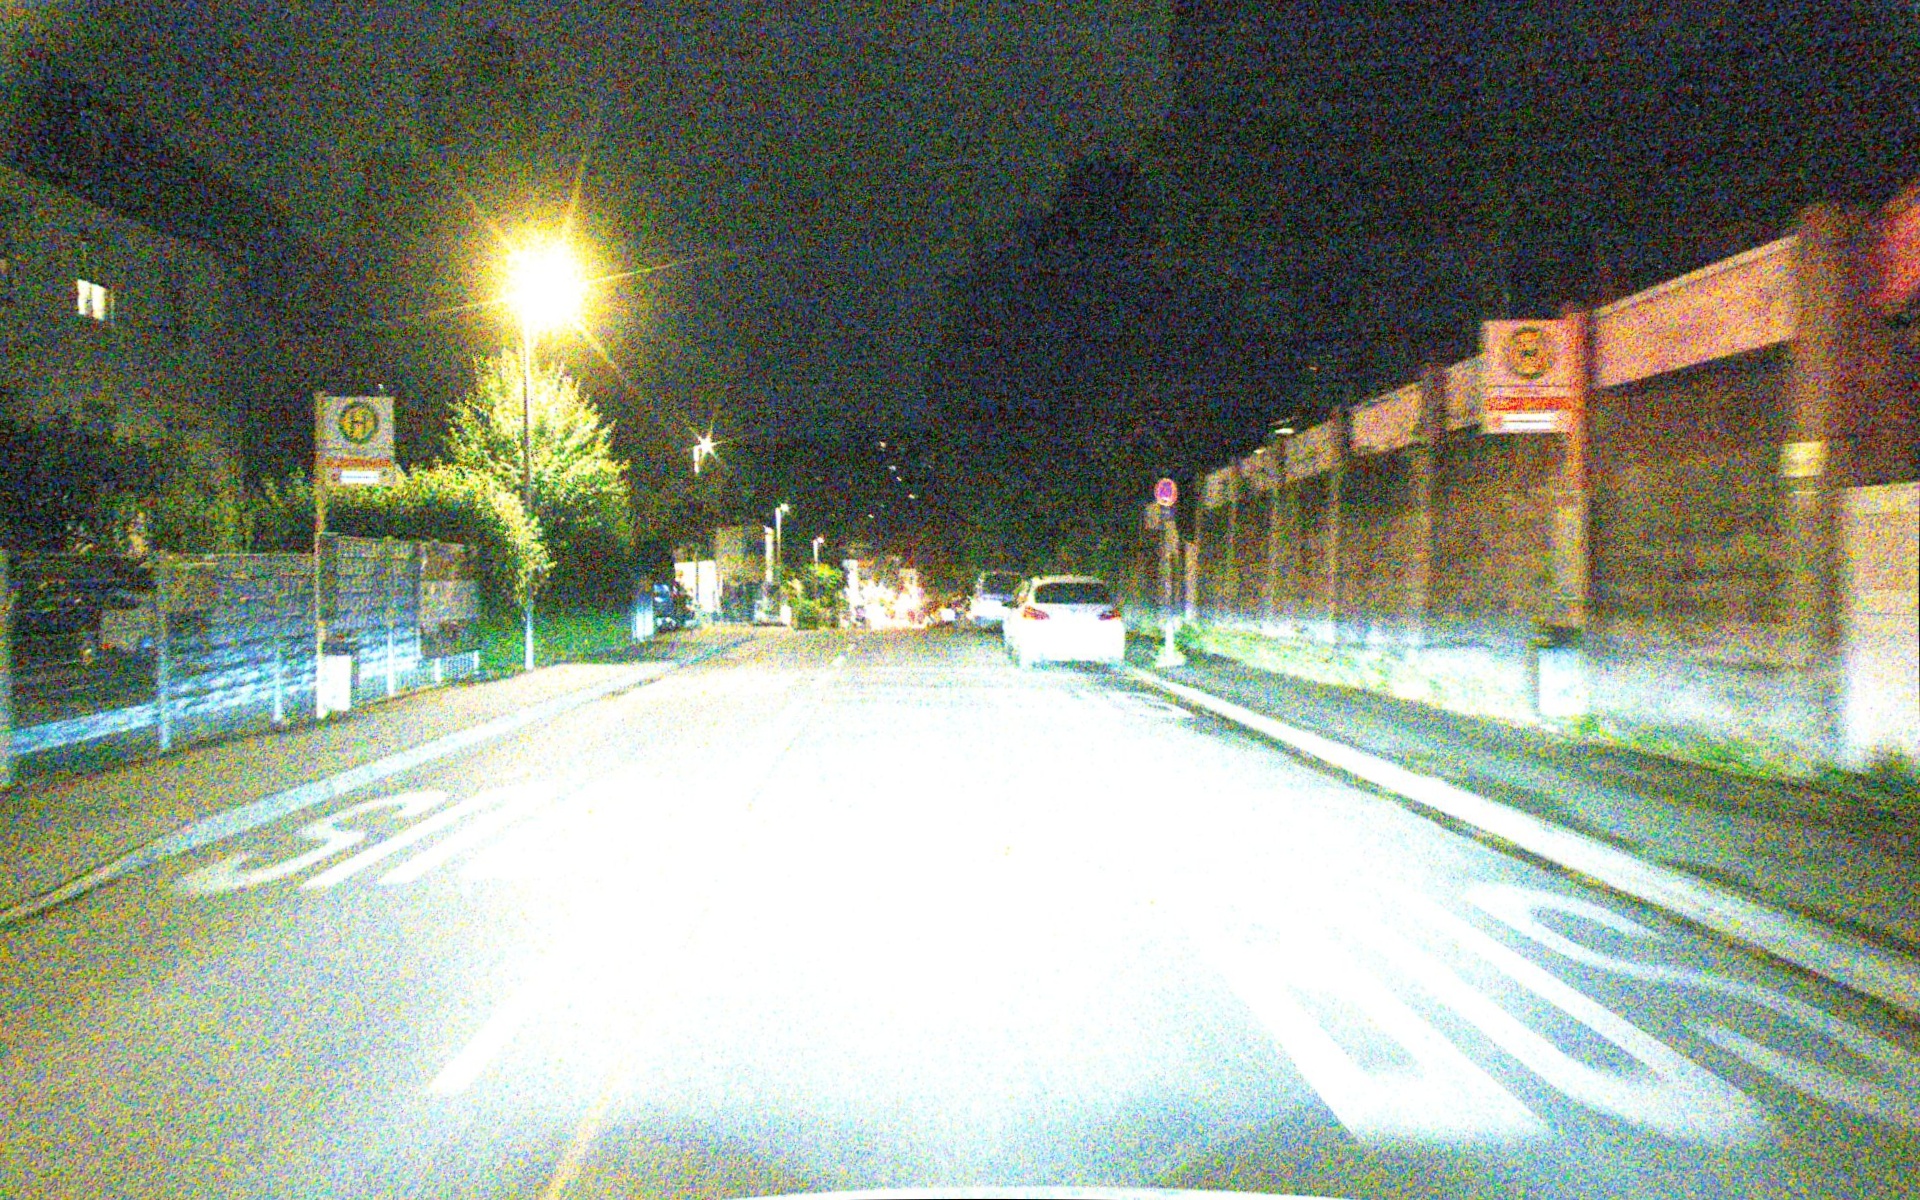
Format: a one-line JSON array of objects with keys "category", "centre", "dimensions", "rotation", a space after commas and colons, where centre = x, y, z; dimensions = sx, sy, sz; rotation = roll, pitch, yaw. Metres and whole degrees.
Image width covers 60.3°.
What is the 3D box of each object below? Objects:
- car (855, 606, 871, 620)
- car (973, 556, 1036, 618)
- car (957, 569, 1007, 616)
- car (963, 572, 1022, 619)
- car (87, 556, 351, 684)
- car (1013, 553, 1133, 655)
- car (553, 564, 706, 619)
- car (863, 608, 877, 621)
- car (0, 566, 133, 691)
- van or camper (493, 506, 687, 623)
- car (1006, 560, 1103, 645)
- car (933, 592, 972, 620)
[{"category": "car", "centre": [-10.601, 1.431, 180.763], "dimensions": [1.719, 1.566, 3.726], "rotation": [0, -1, -5]}, {"category": "car", "centre": [1.321, -0.389, 50.614], "dimensions": [1.684, 1.792, 4.757], "rotation": [1, 0, -1]}, {"category": "car", "centre": [0.794, -0.240, 61.716], "dimensions": [1.794, 1.693, 4.618], "rotation": [0, -1, 0]}, {"category": "car", "centre": [1.068, -0.158, 56.099], "dimensions": [1.708, 1.496, 4.255], "rotation": [1, 0, -2]}, {"category": "car", "centre": [-9.207, 0.189, 20.940], "dimensions": [1.937, 1.464, 3.994], "rotation": [0, 1, -7]}, {"category": "car", "centre": [1.885, 0.029, 28.846], "dimensions": [1.719, 1.621, 4.728], "rotation": [1, 1, -1]}, {"category": "car", "centre": [-10.215, -0.259, 51.358], "dimensions": [4.327, 1.641, 2.065], "rotation": [-1, -1, -1]}, {"category": "car", "centre": [-10.778, 1.708, 197.880], "dimensions": [1.718, 1.566, 3.728], "rotation": [0, -1, -3]}, {"category": "car", "centre": [-12.141, 0.303, 20.556], "dimensions": [1.812, 1.452, 3.999], "rotation": [0, 1, -2]}, {"category": "van or camper", "centre": [-10.576, -0.965, 47.588], "dimensions": [5.303, 3.166, 2.126], "rotation": [1, -3, -12]}, {"category": "car", "centre": [1.855, 0.004, 33.355], "dimensions": [1.576, 1.486, 3.716], "rotation": [-3, 2, -2]}, {"category": "car", "centre": [-0.439, 0.350, 91.124], "dimensions": [1.729, 1.501, 4.271], "rotation": [2, -1, -5]}]
